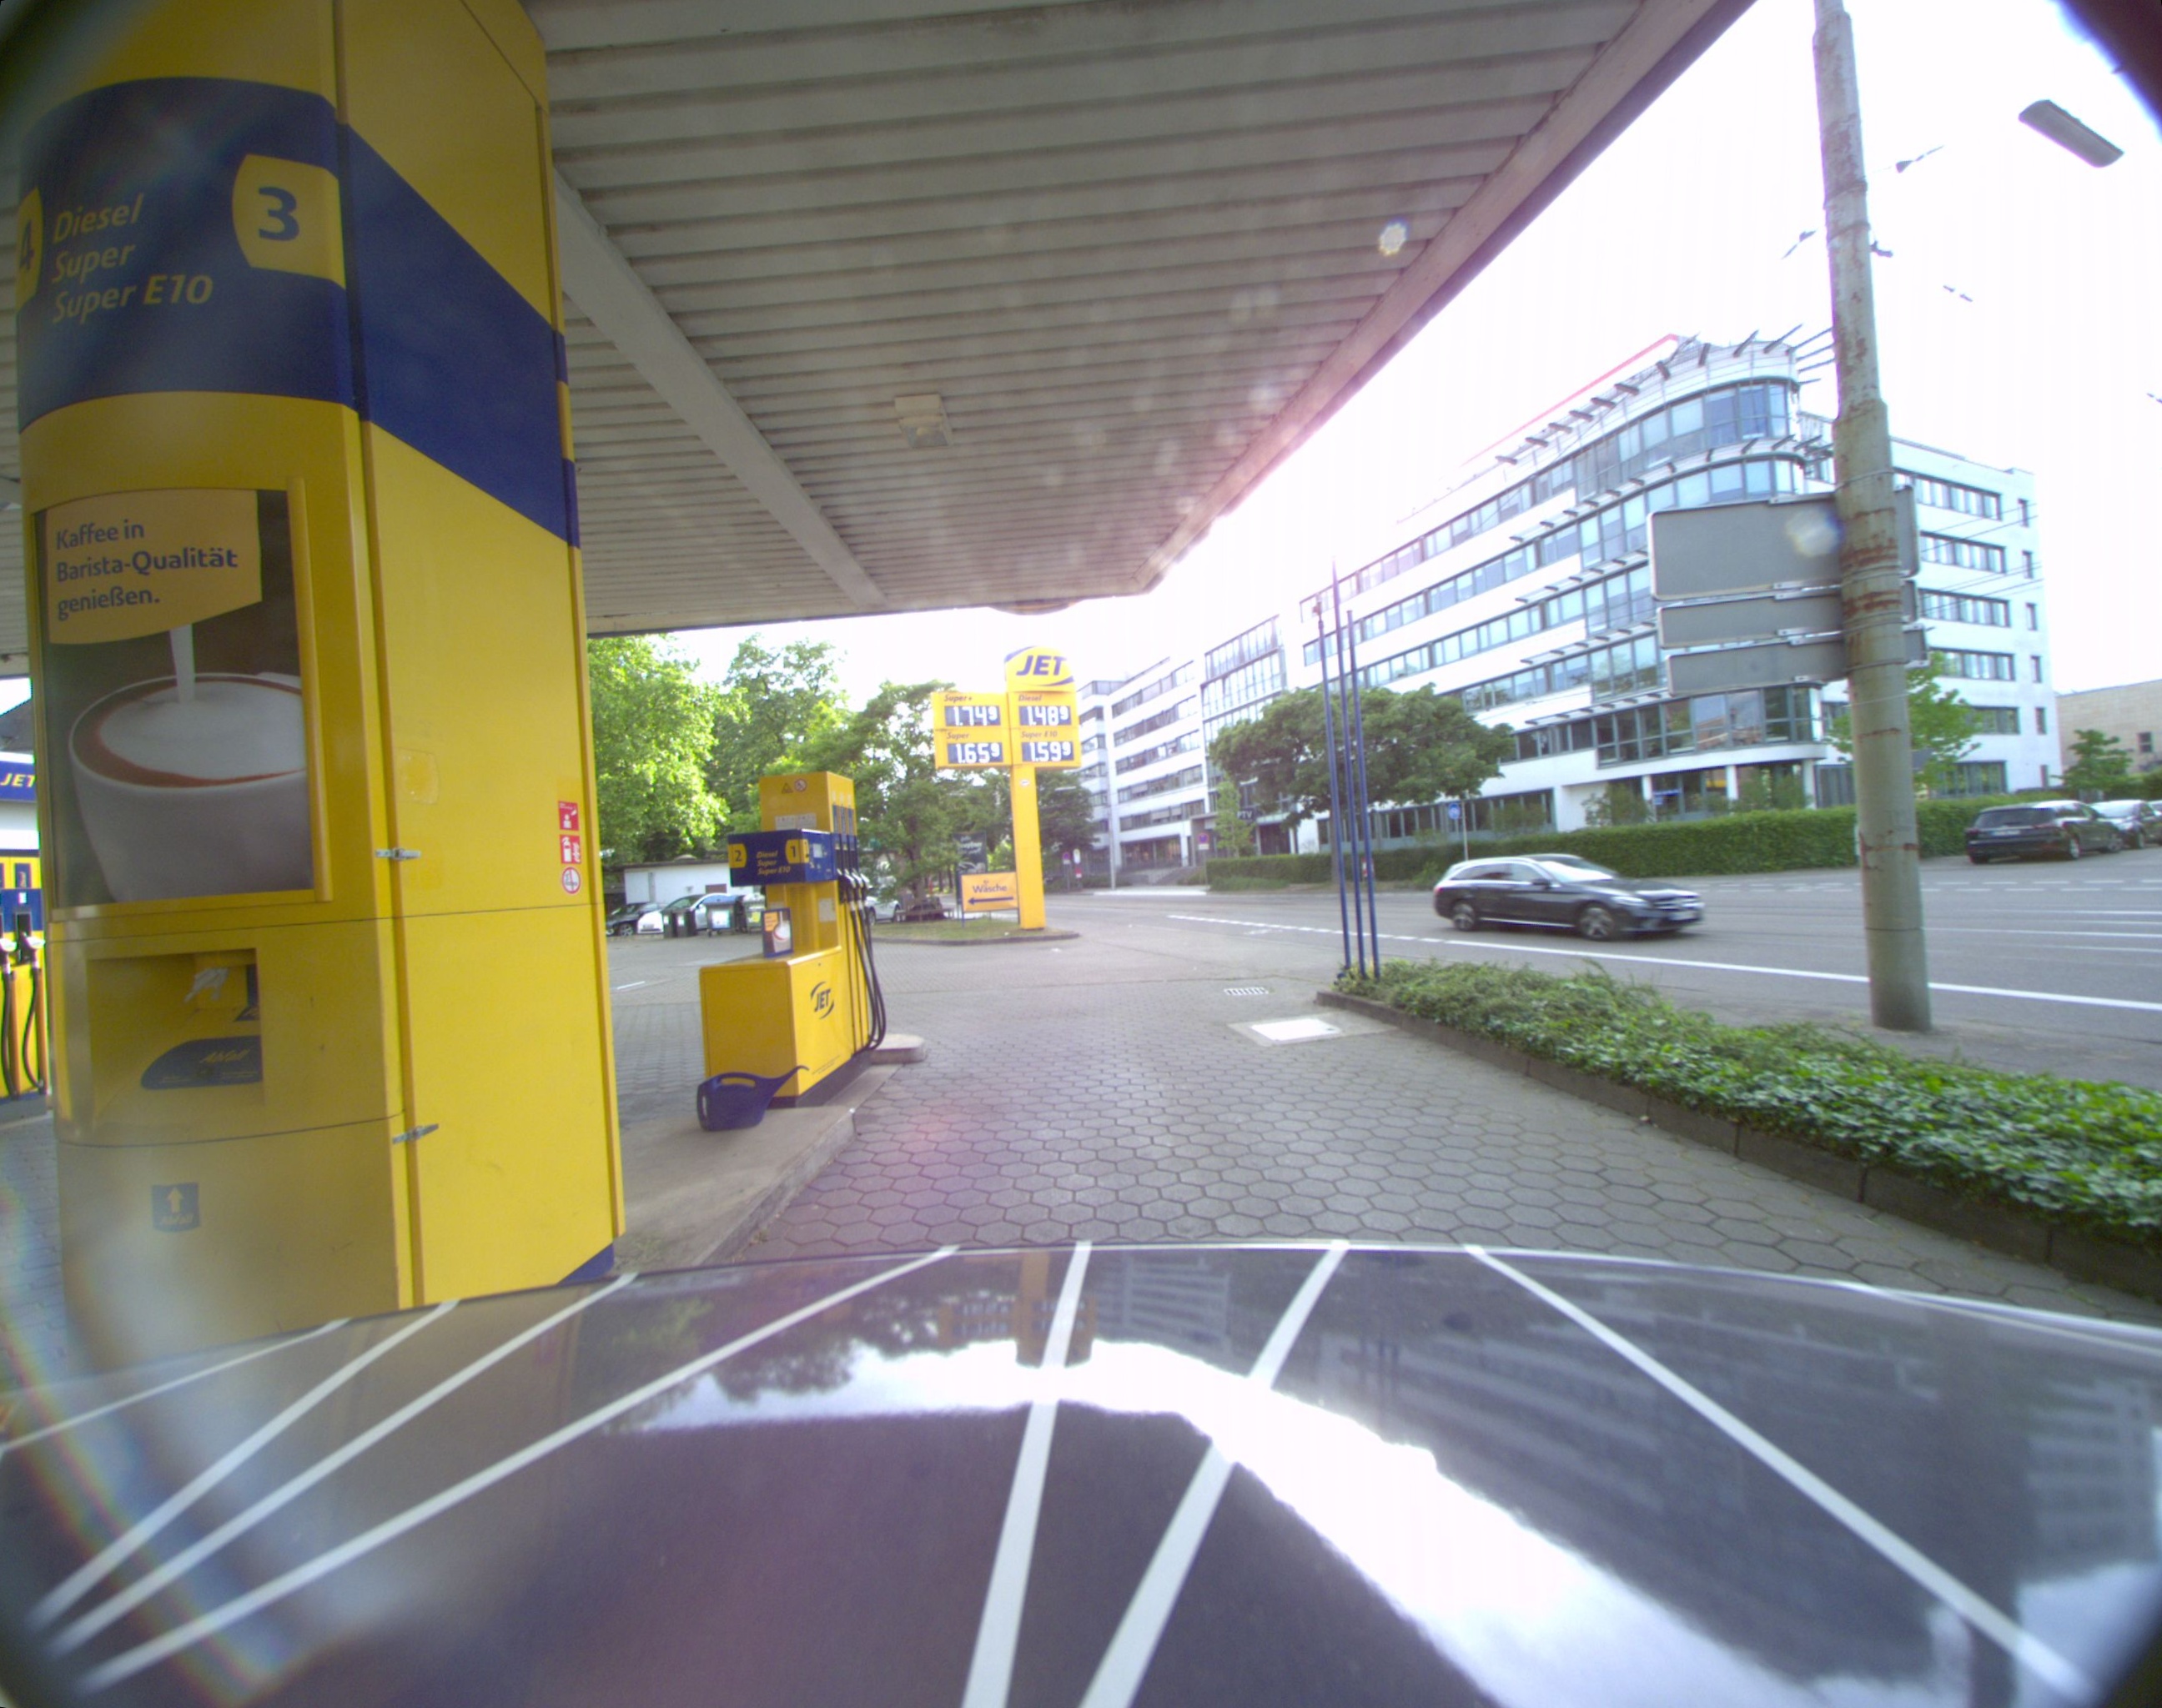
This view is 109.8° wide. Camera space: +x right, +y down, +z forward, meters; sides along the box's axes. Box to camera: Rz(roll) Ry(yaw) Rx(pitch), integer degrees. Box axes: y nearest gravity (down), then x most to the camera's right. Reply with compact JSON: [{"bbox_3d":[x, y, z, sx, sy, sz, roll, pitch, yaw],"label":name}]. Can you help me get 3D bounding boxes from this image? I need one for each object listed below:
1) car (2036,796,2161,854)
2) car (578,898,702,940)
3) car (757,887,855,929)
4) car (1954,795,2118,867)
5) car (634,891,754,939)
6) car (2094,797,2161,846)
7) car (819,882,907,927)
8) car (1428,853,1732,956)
[{"bbox_3d":[32.547,-0.940,24.097,4.296,1.530,1.945,-4,-1,-27],"label":"car"},{"bbox_3d":[-17.792,2.602,30.912,1.771,1.367,4.398,-2,-1,14],"label":"car"},{"bbox_3d":[-11.652,2.278,32.497,1.771,1.591,4.400,-4,-4,13],"label":"car"},{"bbox_3d":[27.276,-0.663,21.695,4.296,1.681,2.010,-4,-1,-27],"label":"car"},{"bbox_3d":[-15.290,2.376,30.318,1.771,1.591,4.398,-2,-1,14],"label":"car"},{"bbox_3d":[37.129,-1.197,26.149,4.296,1.509,1.945,-4,-1,-27],"label":"car"},{"bbox_3d":[-8.634,2.012,30.506,1.772,1.591,4.398,-4,-4,6],"label":"car"},{"bbox_3d":[8.835,0.849,14.045,1.755,1.460,4.565,-4,-1,-17],"label":"car"}]
